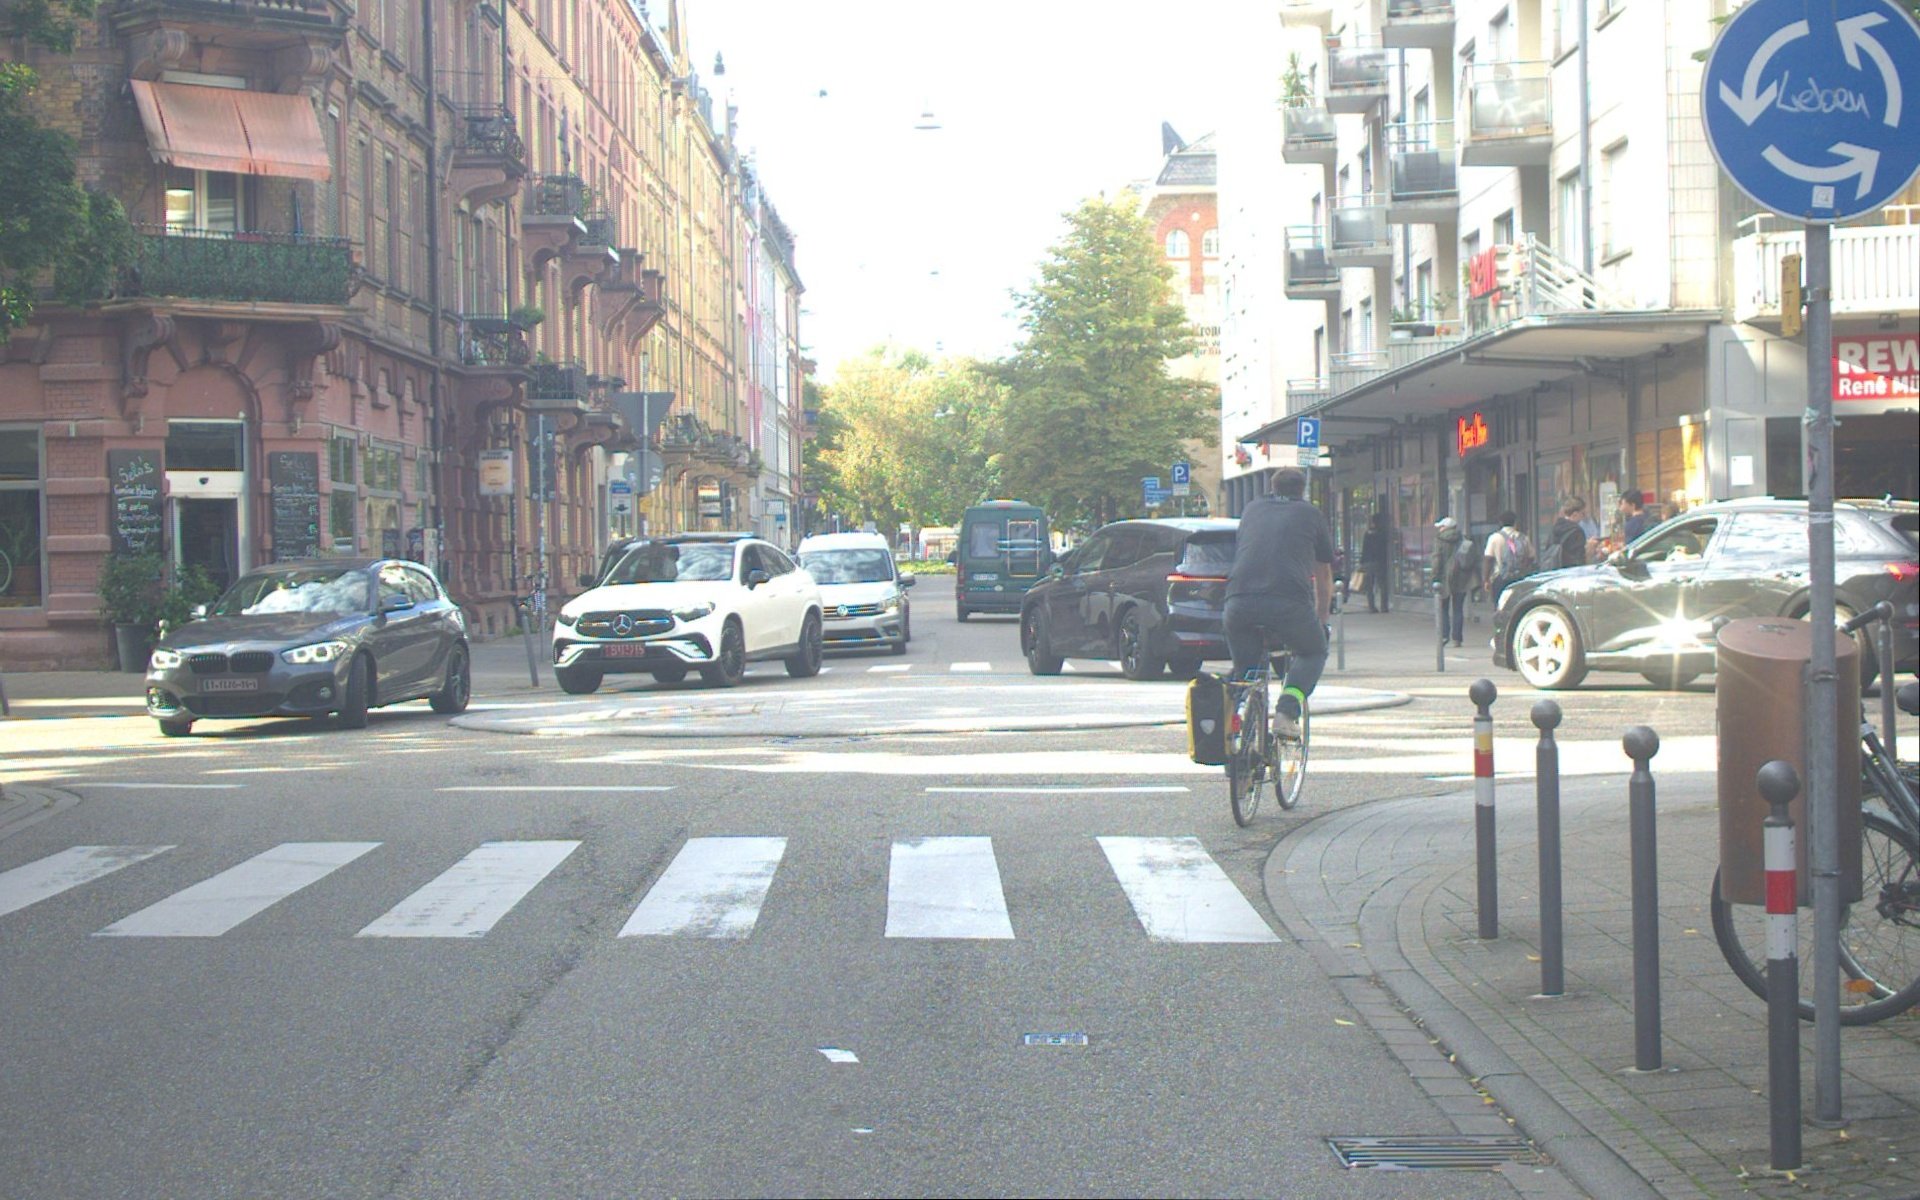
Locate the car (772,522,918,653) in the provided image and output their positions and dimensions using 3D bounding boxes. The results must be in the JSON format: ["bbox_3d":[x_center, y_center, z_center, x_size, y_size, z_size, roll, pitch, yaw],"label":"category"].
[{"bbox_3d":[-1.656,-0.217,51.147,1.793,1.784,4.736,-2,1,2],"label":"car"}]

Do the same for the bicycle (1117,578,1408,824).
[{"bbox_3d":[1.614,0.479,17.862,0.666,1.174,2.493,1,1,26],"label":"bicycle"}]

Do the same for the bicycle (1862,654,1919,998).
[{"bbox_3d":[3.435,0.678,9.813,0.347,1.036,2.018,-5,1,-27],"label":"bicycle"}]

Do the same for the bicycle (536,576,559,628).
[{"bbox_3d":[-7.776,0.028,64.763,0.360,0.944,1.716,0,1,-5],"label":"bicycle"}]

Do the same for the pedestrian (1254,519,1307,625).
[{"bbox_3d":[5.714,-0.510,61.214,0.731,1.858,1.062,-1,1,15],"label":"pedestrian"}]

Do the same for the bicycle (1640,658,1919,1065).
[{"bbox_3d":[2.700,0.696,9.314,0.548,1.036,1.857,-5,2,-29],"label":"bicycle"}]

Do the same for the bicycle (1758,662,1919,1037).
[{"bbox_3d":[3.085,0.712,9.638,0.459,1.036,1.857,-5,2,-29],"label":"bicycle"}]

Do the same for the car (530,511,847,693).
[{"bbox_3d":[-2.914,-0.035,38.128,1.944,1.716,4.847,-2,2,15],"label":"car"}]

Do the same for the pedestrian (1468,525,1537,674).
[{"bbox_3d":[6.338,-0.013,40.113,0.741,1.706,0.733,-1,1,11],"label":"pedestrian"}]

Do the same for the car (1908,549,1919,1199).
[{"bbox_3d":[4.135,0.583,7.301,3.931,1.452,1.770,-1,1,-28],"label":"car"}]

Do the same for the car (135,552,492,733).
[{"bbox_3d":[-5.421,0.328,29.359,1.750,1.431,4.210,0,0,8],"label":"car"}]

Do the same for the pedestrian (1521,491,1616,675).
[{"bbox_3d":[6.191,-0.174,34.991,0.869,1.845,0.612,-1,1,5],"label":"pedestrian"}]

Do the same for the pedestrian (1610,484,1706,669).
[{"bbox_3d":[7.080,-0.238,34.899,0.869,1.845,0.612,-1,1,5],"label":"pedestrian"}]

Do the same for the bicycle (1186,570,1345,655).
[{"bbox_3d":[3.945,0.155,44.484,2.000,1.042,0.532,-1,1,3],"label":"bicycle"}]

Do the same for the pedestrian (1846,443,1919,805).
[{"bbox_3d":[4.969,0.107,17.140,0.783,1.773,0.791,-1,1,39],"label":"pedestrian"}]

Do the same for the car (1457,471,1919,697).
[{"bbox_3d":[6.750,-0.174,29.108,2.037,1.718,4.844,-4,3,-40],"label":"car"}]

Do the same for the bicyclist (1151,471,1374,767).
[{"bbox_3d":[1.566,0.085,17.729,0.934,1.479,0.746,1,1,26],"label":"bicyclist"}]

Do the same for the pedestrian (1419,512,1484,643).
[{"bbox_3d":[6.206,-0.285,43.394,0.745,1.623,0.812,-1,1,11],"label":"pedestrian"}]

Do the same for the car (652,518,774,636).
[{"bbox_3d":[-4.400,-0.437,61.813,1.993,2.007,4.000,-2,1,-2],"label":"car"}]

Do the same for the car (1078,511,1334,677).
[{"bbox_3d":[2.522,-0.092,36.229,1.993,1.612,4.001,-1,1,-6],"label":"car"}]

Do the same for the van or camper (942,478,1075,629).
[{"bbox_3d":[0.978,-0.990,72.297,2.531,3.027,4.459,-1,1,-2],"label":"van or camper"}]
